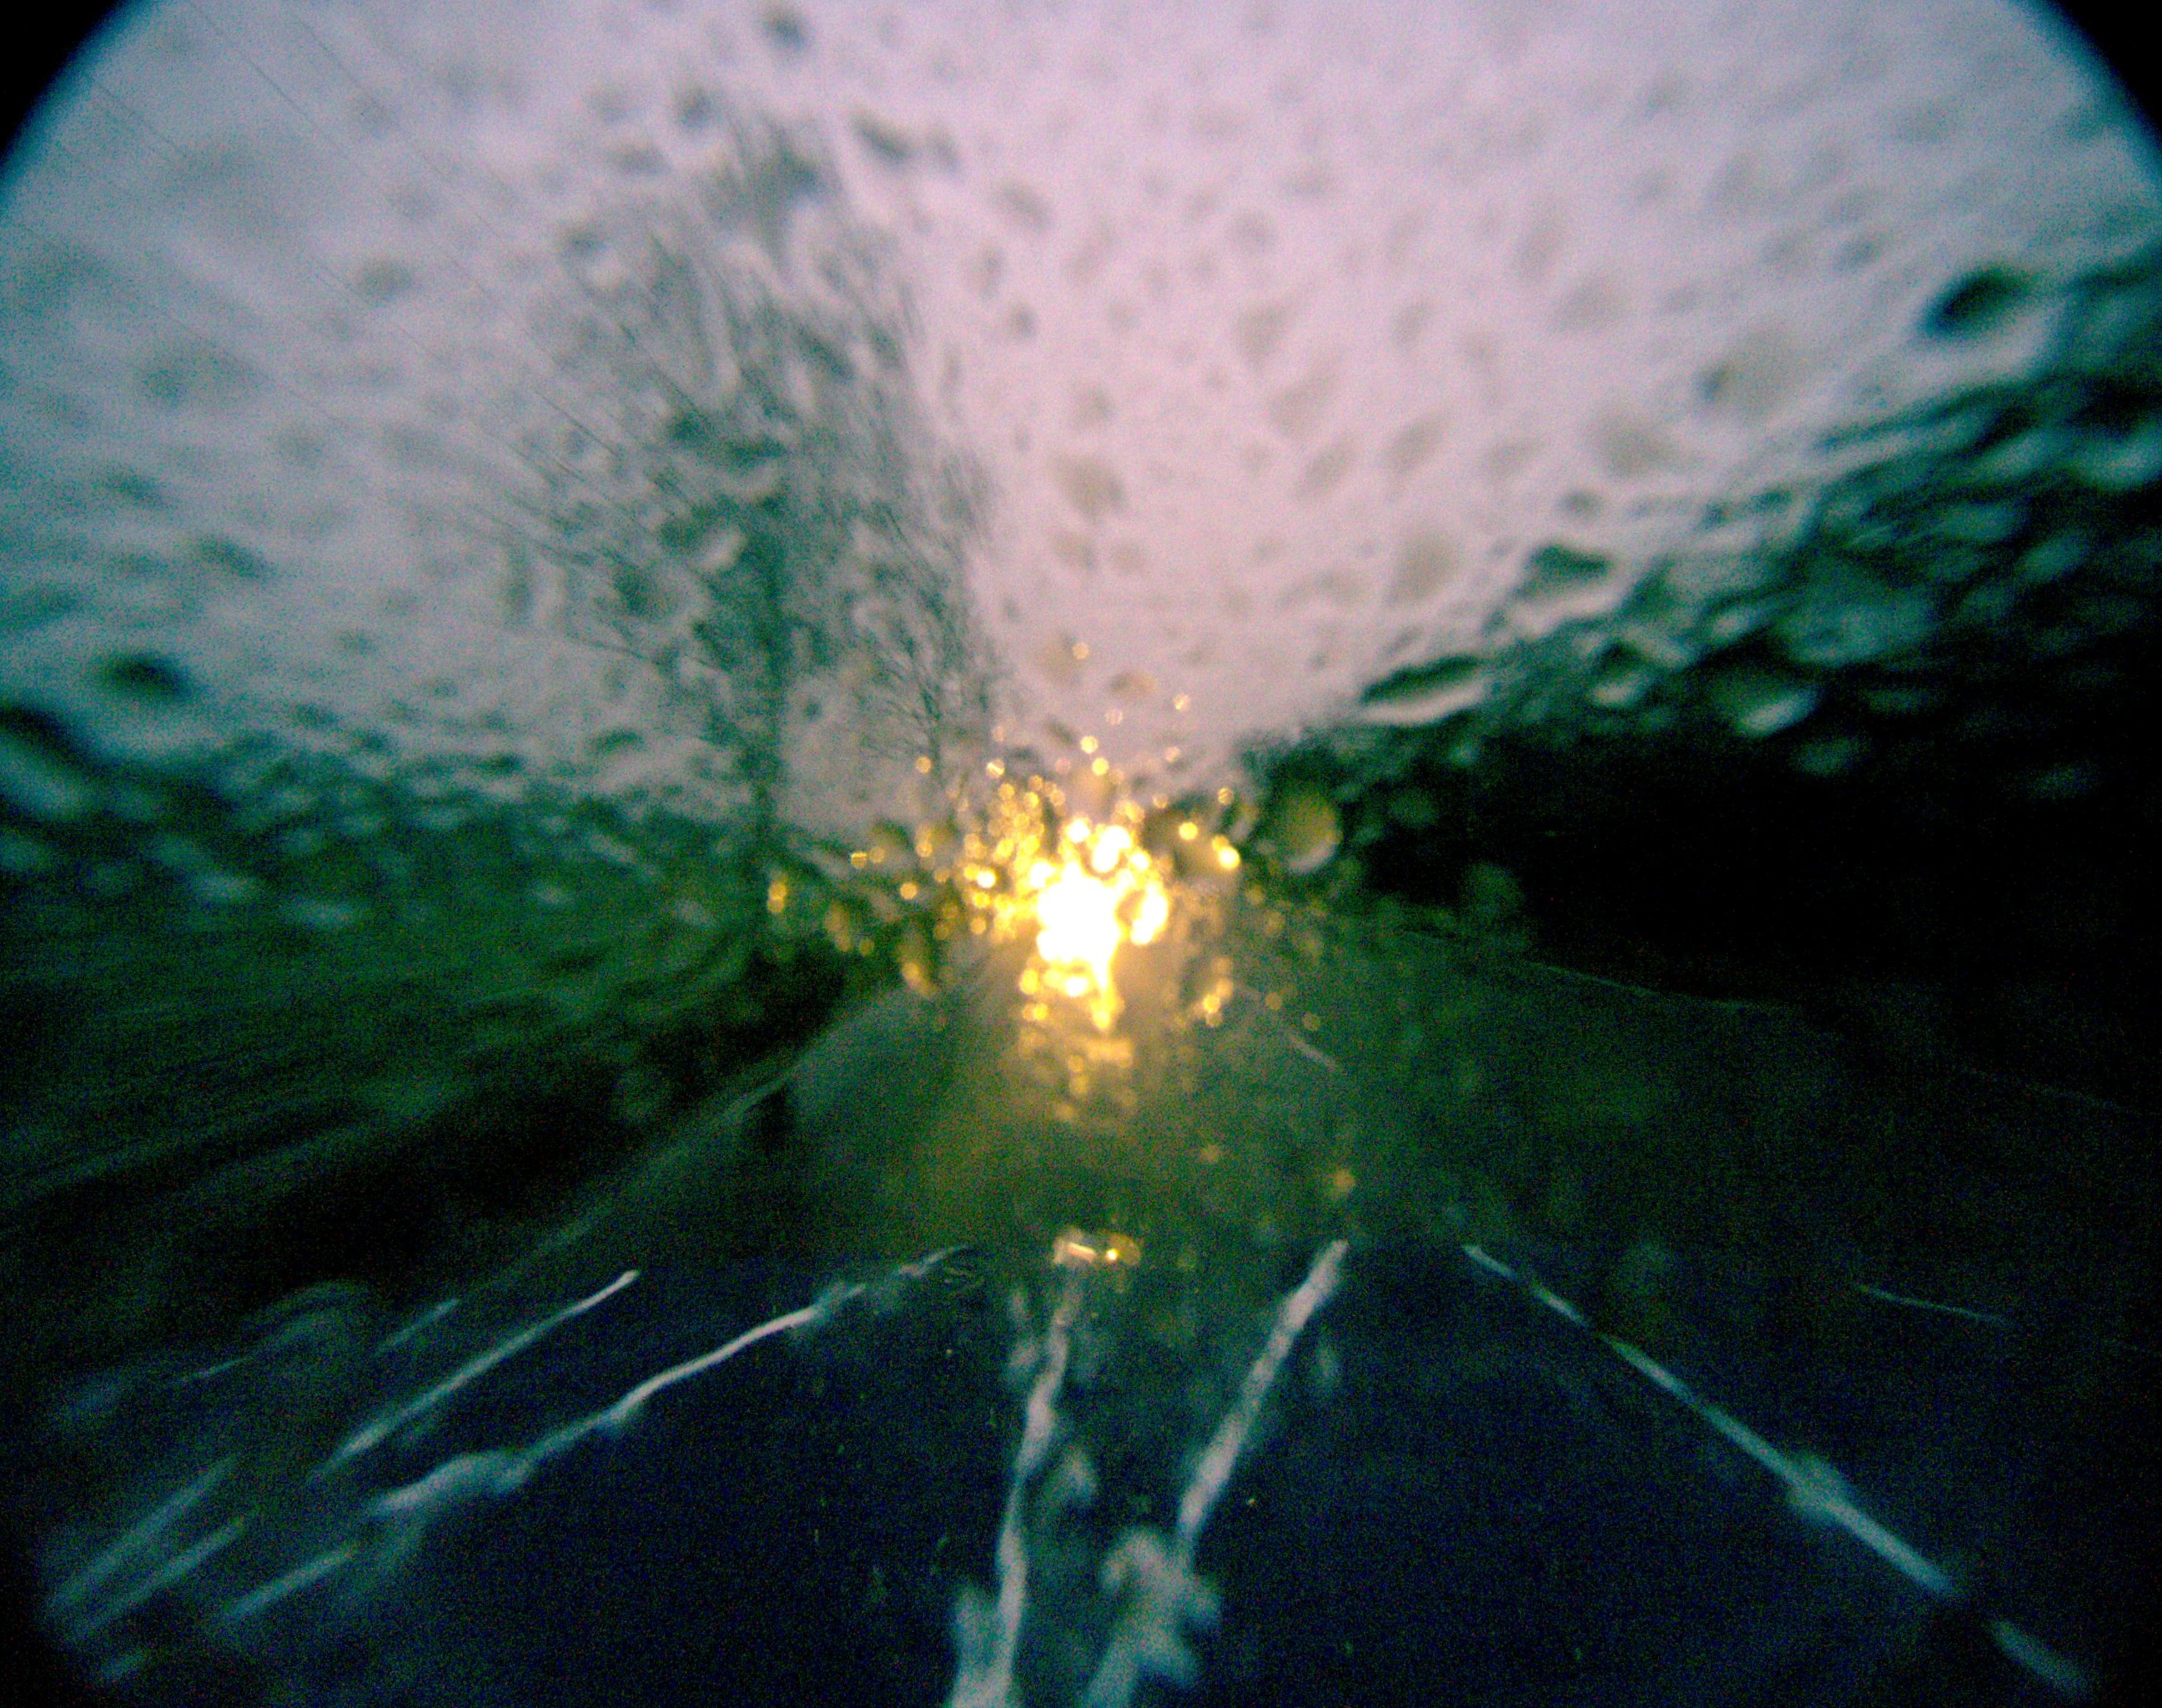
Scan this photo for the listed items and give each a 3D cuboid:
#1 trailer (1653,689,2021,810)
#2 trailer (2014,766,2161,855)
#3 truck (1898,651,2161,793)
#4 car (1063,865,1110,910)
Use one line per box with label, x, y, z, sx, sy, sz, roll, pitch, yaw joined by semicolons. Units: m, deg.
trailer;26.251;-3.367;27.723;2.442;2.874;11.084;-1;0;0
trailer;30.600;-1.177;18.191;2.515;2.410;11.501;-1;0;1
truck;26.193;-3.322;20.446;2.456;2.870;5.583;-1;0;0
car;0.300;1.422;33.564;1.910;1.653;4.000;-3;1;2
